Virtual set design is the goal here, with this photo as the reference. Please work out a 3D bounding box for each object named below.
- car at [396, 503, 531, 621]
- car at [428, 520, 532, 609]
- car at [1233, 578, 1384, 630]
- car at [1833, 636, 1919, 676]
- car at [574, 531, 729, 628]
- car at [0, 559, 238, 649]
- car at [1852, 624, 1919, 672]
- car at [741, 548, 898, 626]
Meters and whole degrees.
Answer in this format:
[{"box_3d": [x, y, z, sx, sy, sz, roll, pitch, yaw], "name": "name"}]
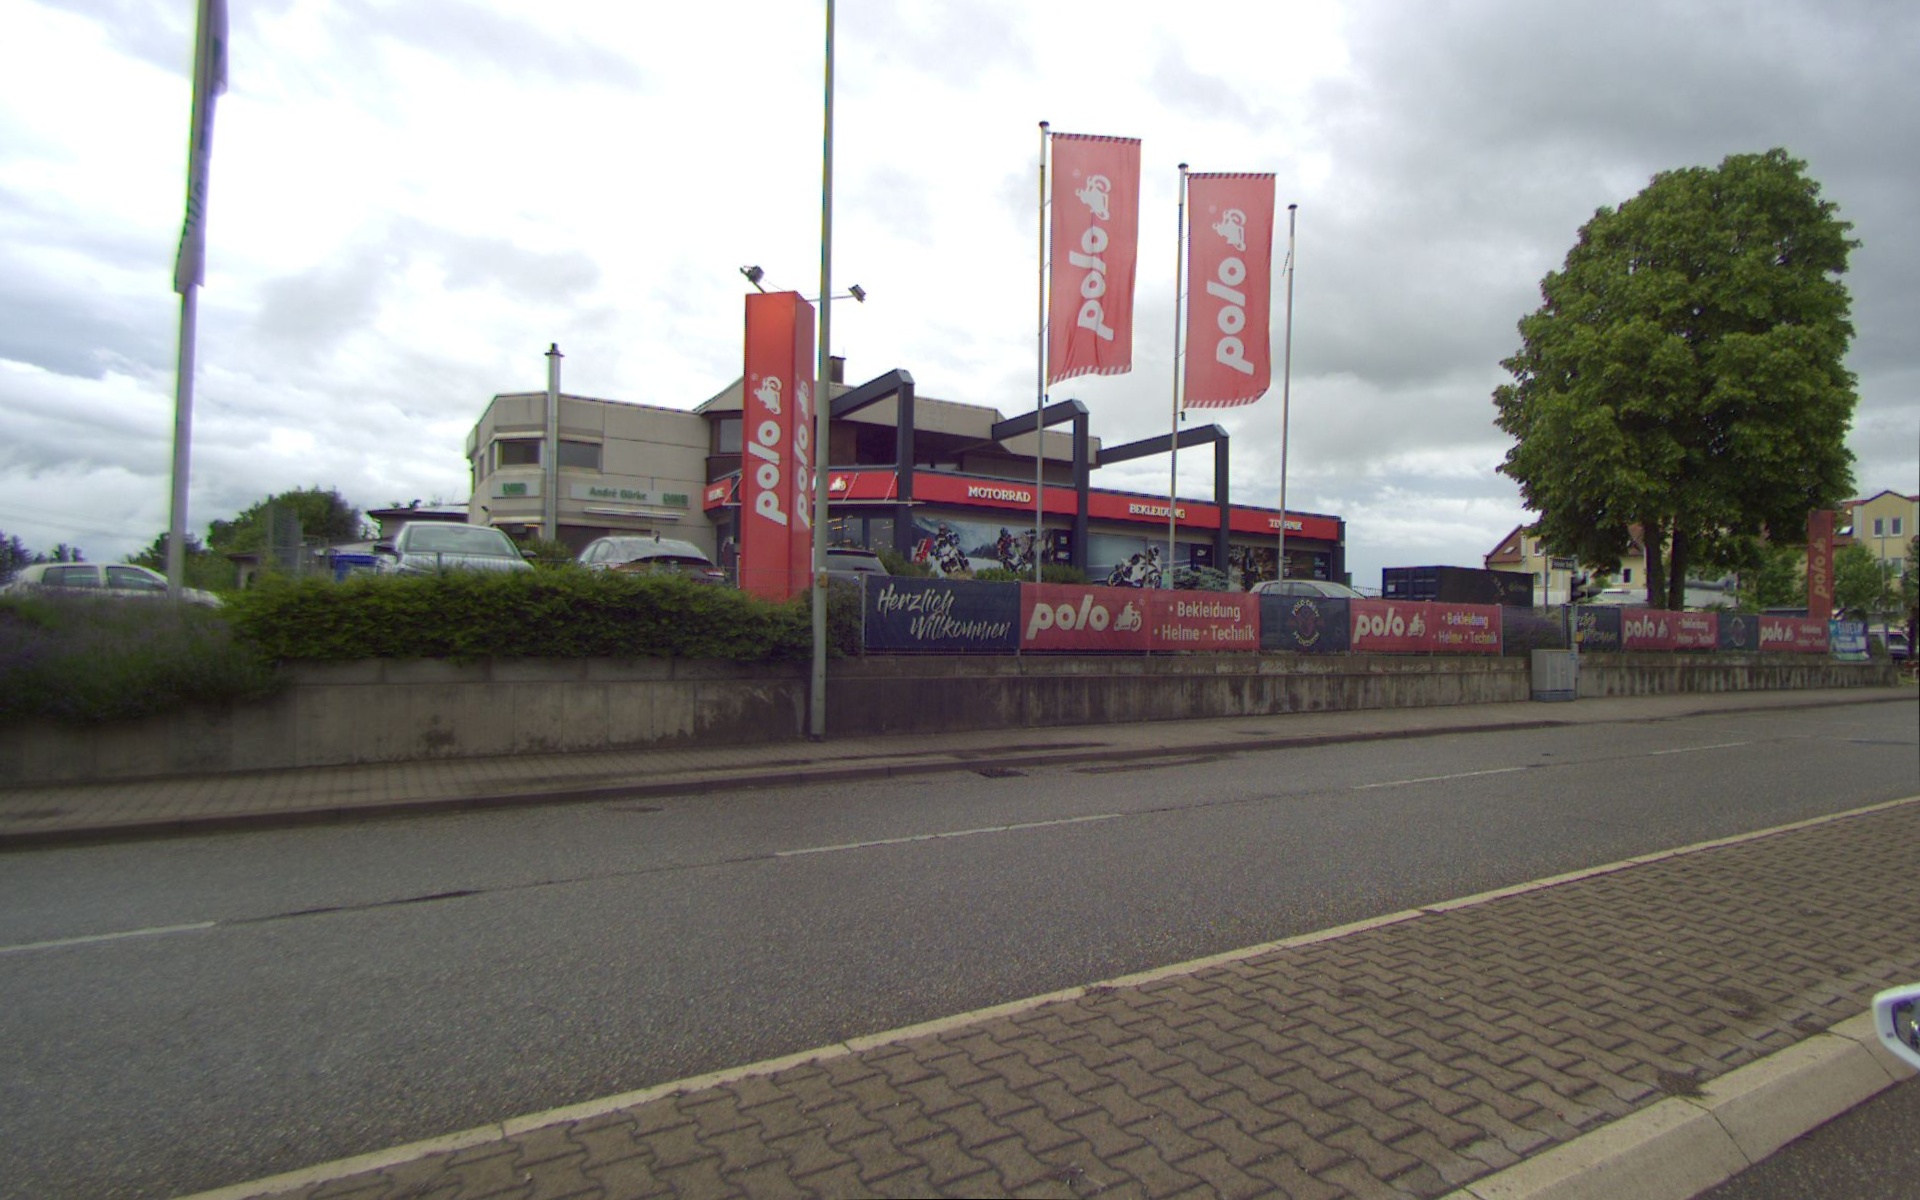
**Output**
[{"box_3d": [-6.720, -0.404, 13.498, 1.436, 1.355, 3.371, 1, -2, -29], "name": "car"}, {"box_3d": [-9.287, -0.606, 19.322, 1.438, 1.492, 3.368, 1, -2, -32], "name": "car"}, {"box_3d": [8.485, 0.139, 24.664, 1.438, 1.183, 3.368, 1, -2, -32], "name": "car"}, {"box_3d": [42.531, 2.512, 44.943, 4.927, 1.724, 1.996, -2, -6, 32], "name": "car"}, {"box_3d": [-4.757, -0.234, 15.213, 1.438, 1.294, 3.368, 1, -2, -32], "name": "car"}, {"box_3d": [-16.222, 0.107, 19.558, 3.346, 1.617, 1.520, 1, -1, -30], "name": "car"}, {"box_3d": [41.077, 2.043, 42.733, 4.324, 2.040, 1.996, -2, -3, 32], "name": "car"}, {"box_3d": [-2.487, -0.154, 17.202, 1.438, 1.183, 3.368, 1, -2, -32], "name": "car"}]
